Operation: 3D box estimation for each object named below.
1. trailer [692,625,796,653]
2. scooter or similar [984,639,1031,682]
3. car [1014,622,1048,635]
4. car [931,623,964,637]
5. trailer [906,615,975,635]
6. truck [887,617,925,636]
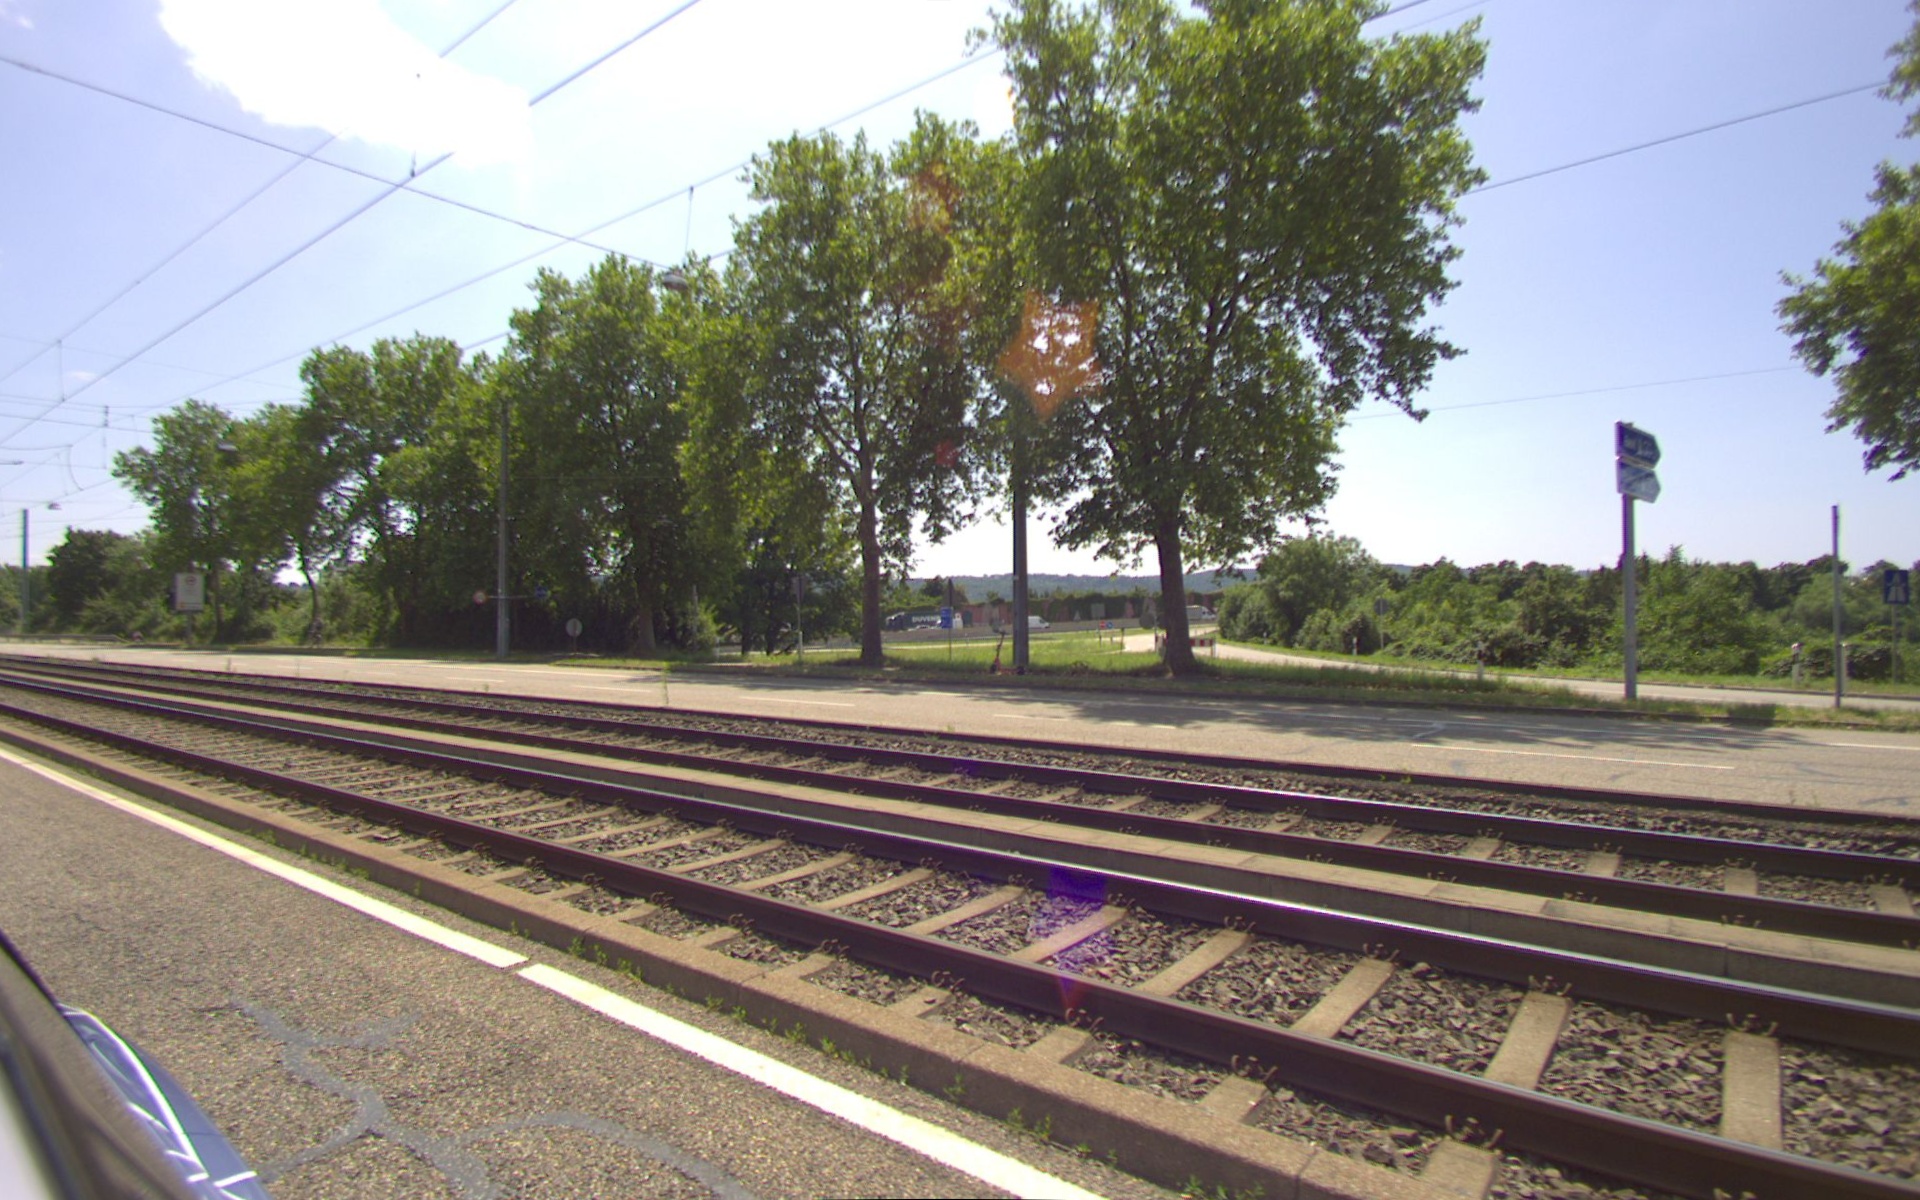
[{"bbox_3d":[-31.853,5.710,149.578,14.566,3.454,3.146,-1,-1,-21],"label":"trailer"},{"bbox_3d":[1.312,1.652,27.793,1.233,1.159,0.457,-2,-1,37],"label":"scooter or similar"},{"bbox_3d":[12.059,4.800,171.104,5.490,2.029,2.006,0,-1,-25],"label":"car"},{"bbox_3d":[-2.300,5.348,181.364,5.475,2.524,2.229,0,-2,-21],"label":"car"},{"bbox_3d":[-3.625,4.516,184.834,12.165,3.466,3.348,0,-2,-21],"label":"trailer"},{"bbox_3d":[-9.782,4.780,182.419,6.035,3.408,3.340,0,-2,-21],"label":"truck"}]
